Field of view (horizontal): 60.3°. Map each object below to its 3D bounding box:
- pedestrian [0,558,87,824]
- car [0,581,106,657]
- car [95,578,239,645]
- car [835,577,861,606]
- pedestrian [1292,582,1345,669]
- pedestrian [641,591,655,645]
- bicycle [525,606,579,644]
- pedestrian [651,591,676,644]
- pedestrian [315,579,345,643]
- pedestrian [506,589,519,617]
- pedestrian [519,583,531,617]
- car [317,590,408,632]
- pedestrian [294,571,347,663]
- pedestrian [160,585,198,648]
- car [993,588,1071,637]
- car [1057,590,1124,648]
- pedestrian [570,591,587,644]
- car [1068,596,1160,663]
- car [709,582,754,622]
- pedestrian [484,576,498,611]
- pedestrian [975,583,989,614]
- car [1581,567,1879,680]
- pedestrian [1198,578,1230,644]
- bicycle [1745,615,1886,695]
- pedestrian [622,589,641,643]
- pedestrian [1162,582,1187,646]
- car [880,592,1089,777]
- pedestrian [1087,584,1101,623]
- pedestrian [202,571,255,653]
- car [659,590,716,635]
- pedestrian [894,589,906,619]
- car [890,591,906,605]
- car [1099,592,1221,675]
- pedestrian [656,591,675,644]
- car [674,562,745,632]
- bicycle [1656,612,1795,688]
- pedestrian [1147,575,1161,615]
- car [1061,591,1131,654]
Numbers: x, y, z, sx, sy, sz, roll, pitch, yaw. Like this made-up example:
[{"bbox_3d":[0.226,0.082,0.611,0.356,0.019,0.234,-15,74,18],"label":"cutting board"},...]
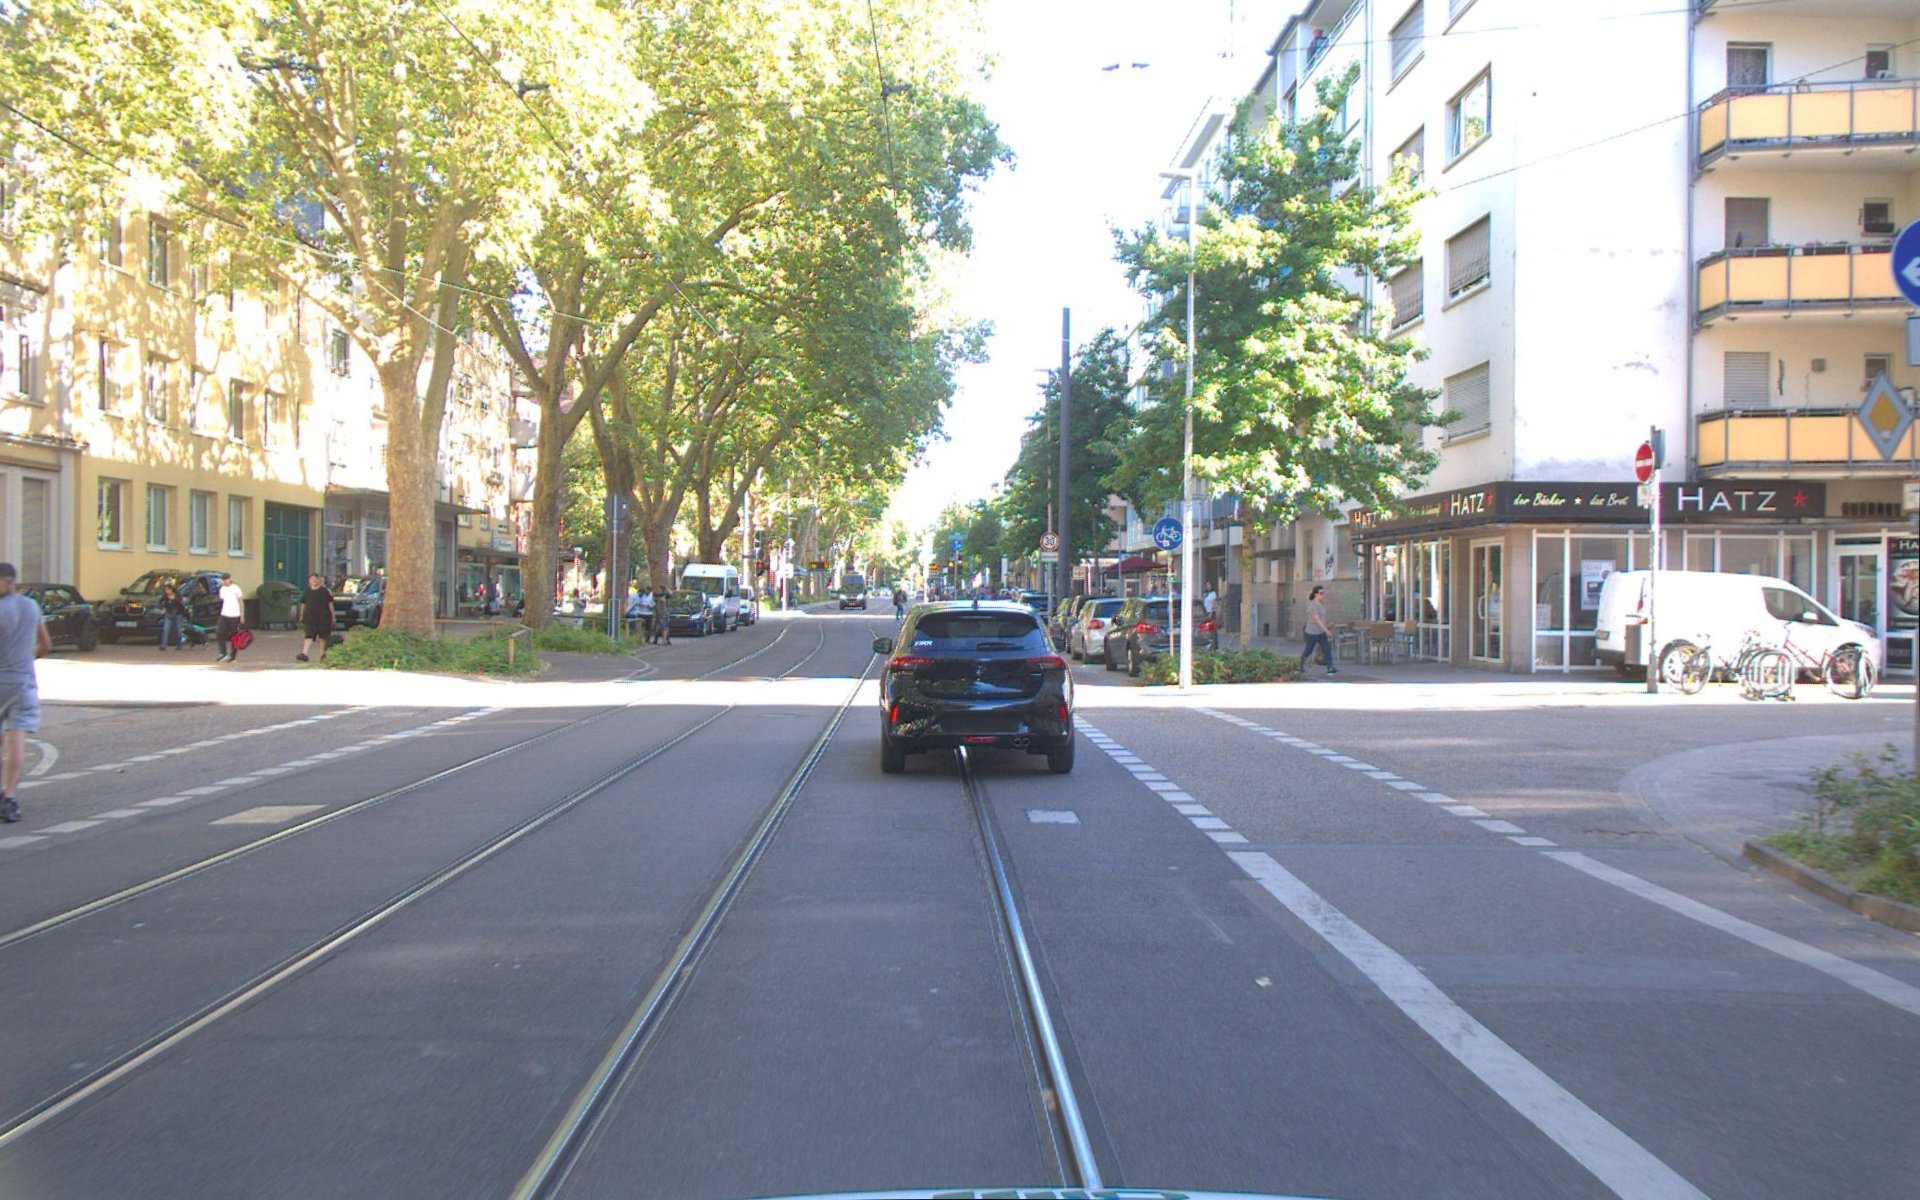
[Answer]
[{"bbox_3d":[-6.545,0.605,11.448,0.706,1.765,0.901,-2,1,-38],"label":"pedestrian"},{"bbox_3d":[-19.675,0.364,34.562,1.647,1.489,3.999,0,0,-1],"label":"car"},{"bbox_3d":[-19.480,0.253,40.825,1.647,1.543,3.999,1,0,-1],"label":"car"},{"bbox_3d":[-8.858,-0.678,130.764,1.955,2.250,5.096,0,0,-6],"label":"car"},{"bbox_3d":[6.861,0.474,31.605,0.838,1.645,0.770,0,0,26],"label":"pedestrian"},{"bbox_3d":[-9.400,0.528,49.836,0.339,1.610,0.508,0,0,-3],"label":"pedestrian"},{"bbox_3d":[-12.244,0.756,49.627,1.659,1.080,0.452,2,-1,29],"label":"bicycle"},{"bbox_3d":[-9.053,0.532,50.473,0.670,1.610,0.557,0,0,-3],"label":"pedestrian"},{"bbox_3d":[-16.716,0.277,43.890,0.540,1.681,0.649,0,0,2],"label":"pedestrian"},{"bbox_3d":[-21.814,0.129,80.594,0.497,1.356,0.526,0,0,-5],"label":"pedestrian"},{"bbox_3d":[-21.063,-0.003,80.098,0.497,1.610,0.526,0,0,-5],"label":"pedestrian"},{"bbox_3d":[-19.467,0.341,53.997,1.661,1.298,3.827,0,1,-2],"label":"car"},{"bbox_3d":[-13.239,0.346,34.269,0.888,1.901,0.643,0,0,-7],"label":"pedestrian"},{"bbox_3d":[-17.856,0.379,37.829,0.540,1.427,0.649,0,0,2],"label":"pedestrian"},{"bbox_3d":[2.499,0.419,58.154,1.957,1.668,3.991,0,0,-9],"label":"car"},{"bbox_3d":[3.733,0.524,47.776,1.683,1.601,3.682,0,0,0],"label":"car"},{"bbox_3d":[-11.520,0.525,49.975,0.498,1.610,0.525,0,0,-12],"label":"pedestrian"},{"bbox_3d":[3.638,0.664,39.546,1.684,1.516,3.679,0,0,-3],"label":"car"},{"bbox_3d":[-10.491,0.075,76.124,1.955,1.747,3.994,0,0,-7],"label":"car"},{"bbox_3d":[-21.660,-0.298,76.436,0.542,1.610,0.573,0,0,-6],"label":"pedestrian"},{"bbox_3d":[1.500,-0.101,113.972,0.839,2.048,1.069,-4,0,0],"label":"pedestrian"},{"bbox_3d":[13.263,0.385,28.644,4.274,1.863,1.998,0,0,-5],"label":"car"},{"bbox_3d":[6.894,0.298,44.961,0.776,1.779,0.770,0,0,1],"label":"pedestrian"},{"bbox_3d":[12.537,0.799,24.288,1.734,1.136,0.614,0,0,12],"label":"bicycle"},{"bbox_3d":[-9.837,0.467,49.569,0.497,1.610,0.526,0,0,-5],"label":"pedestrian"},{"bbox_3d":[5.669,0.374,43.685,0.588,1.680,0.631,0,0,0],"label":"pedestrian"},{"bbox_3d":[0.143,0.683,15.165,1.646,1.447,3.626,2,0,-2],"label":"car"},{"bbox_3d":[6.146,0.163,76.067,0.616,1.763,0.632,0,0,3],"label":"pedestrian"},{"bbox_3d":[-14.935,0.247,33.788,0.830,1.661,0.643,0,0,-7],"label":"pedestrian"},{"bbox_3d":[-9.739,0.422,59.327,1.720,1.534,3.996,0,0,-5],"label":"car"},{"bbox_3d":[-3.242,0.197,89.184,0.584,1.618,0.891,0,0,-8],"label":"pedestrian"},{"bbox_3d":[-7.586,-0.238,202.008,1.714,1.680,4.000,0,0,0],"label":"car"},{"bbox_3d":[4.035,0.629,33.967,1.685,1.601,4.080,0,0,-5],"label":"car"},{"bbox_3d":[-8.872,0.525,49.886,0.496,1.610,0.526,0,0,-2],"label":"pedestrian"},{"bbox_3d":[-9.874,-0.137,65.610,2.050,2.629,5.995,0,0,-2],"label":"car"},{"bbox_3d":[11.702,0.763,25.316,1.797,1.136,0.703,0,0,1],"label":"bicycle"},{"bbox_3d":[8.738,-0.234,74.382,0.616,1.763,0.632,0,0,5],"label":"pedestrian"},{"bbox_3d":[3.554,0.573,43.745,1.617,1.601,3.083,0,0,0],"label":"car"}]
